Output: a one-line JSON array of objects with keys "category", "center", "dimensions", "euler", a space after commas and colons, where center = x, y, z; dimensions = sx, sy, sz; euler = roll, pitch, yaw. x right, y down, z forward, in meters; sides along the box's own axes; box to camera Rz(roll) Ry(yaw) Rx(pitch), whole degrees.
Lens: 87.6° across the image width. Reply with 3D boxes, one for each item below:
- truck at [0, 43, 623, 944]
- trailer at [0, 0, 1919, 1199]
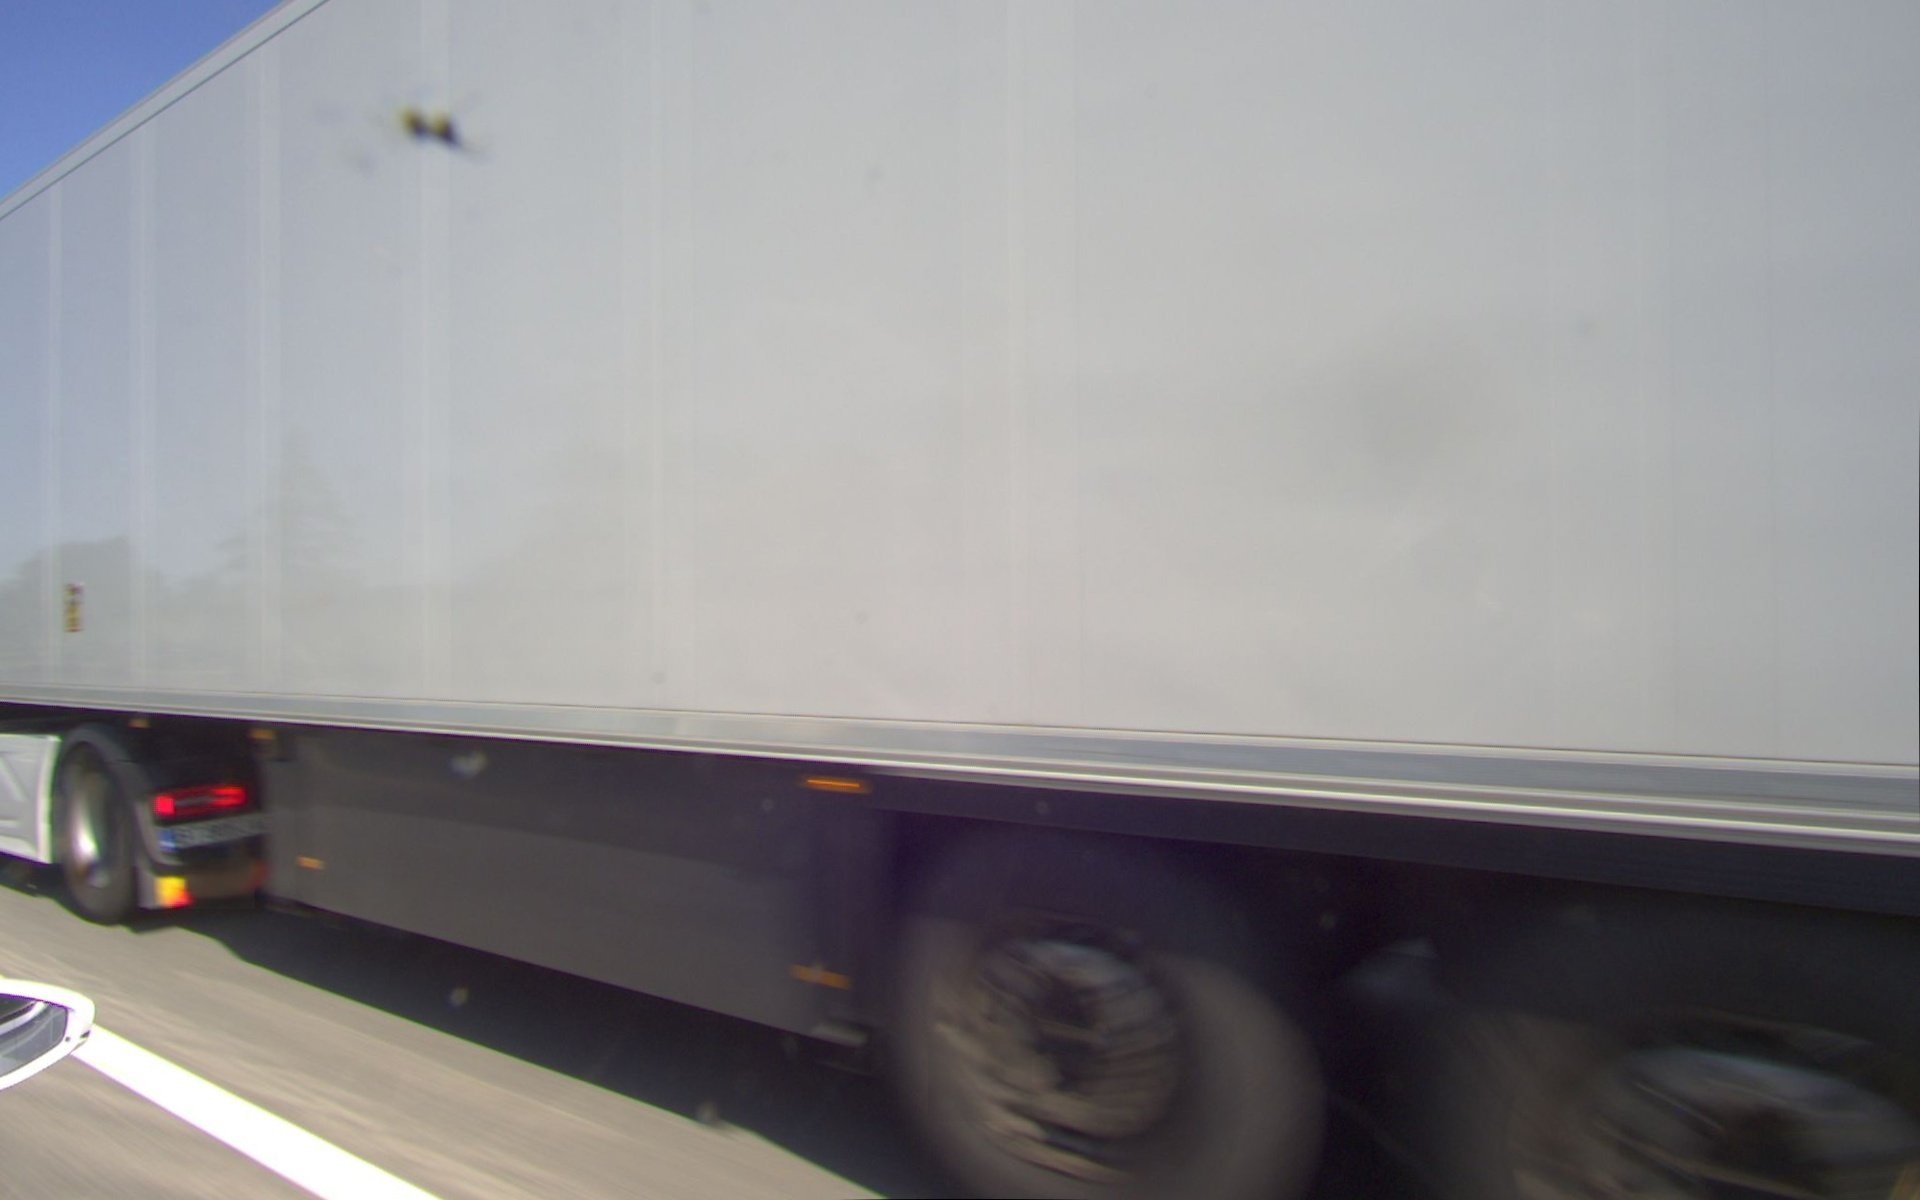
[{"category": "truck", "center": [-6.038, -0.401, 7.501], "dimensions": [6.941, 4.019, 2.835], "euler": [-1, 0, 31]}, {"category": "trailer", "center": [-0.529, -0.457, 4.082], "dimensions": [13.956, 4.018, 2.813], "euler": [-1, 0, 32]}]
